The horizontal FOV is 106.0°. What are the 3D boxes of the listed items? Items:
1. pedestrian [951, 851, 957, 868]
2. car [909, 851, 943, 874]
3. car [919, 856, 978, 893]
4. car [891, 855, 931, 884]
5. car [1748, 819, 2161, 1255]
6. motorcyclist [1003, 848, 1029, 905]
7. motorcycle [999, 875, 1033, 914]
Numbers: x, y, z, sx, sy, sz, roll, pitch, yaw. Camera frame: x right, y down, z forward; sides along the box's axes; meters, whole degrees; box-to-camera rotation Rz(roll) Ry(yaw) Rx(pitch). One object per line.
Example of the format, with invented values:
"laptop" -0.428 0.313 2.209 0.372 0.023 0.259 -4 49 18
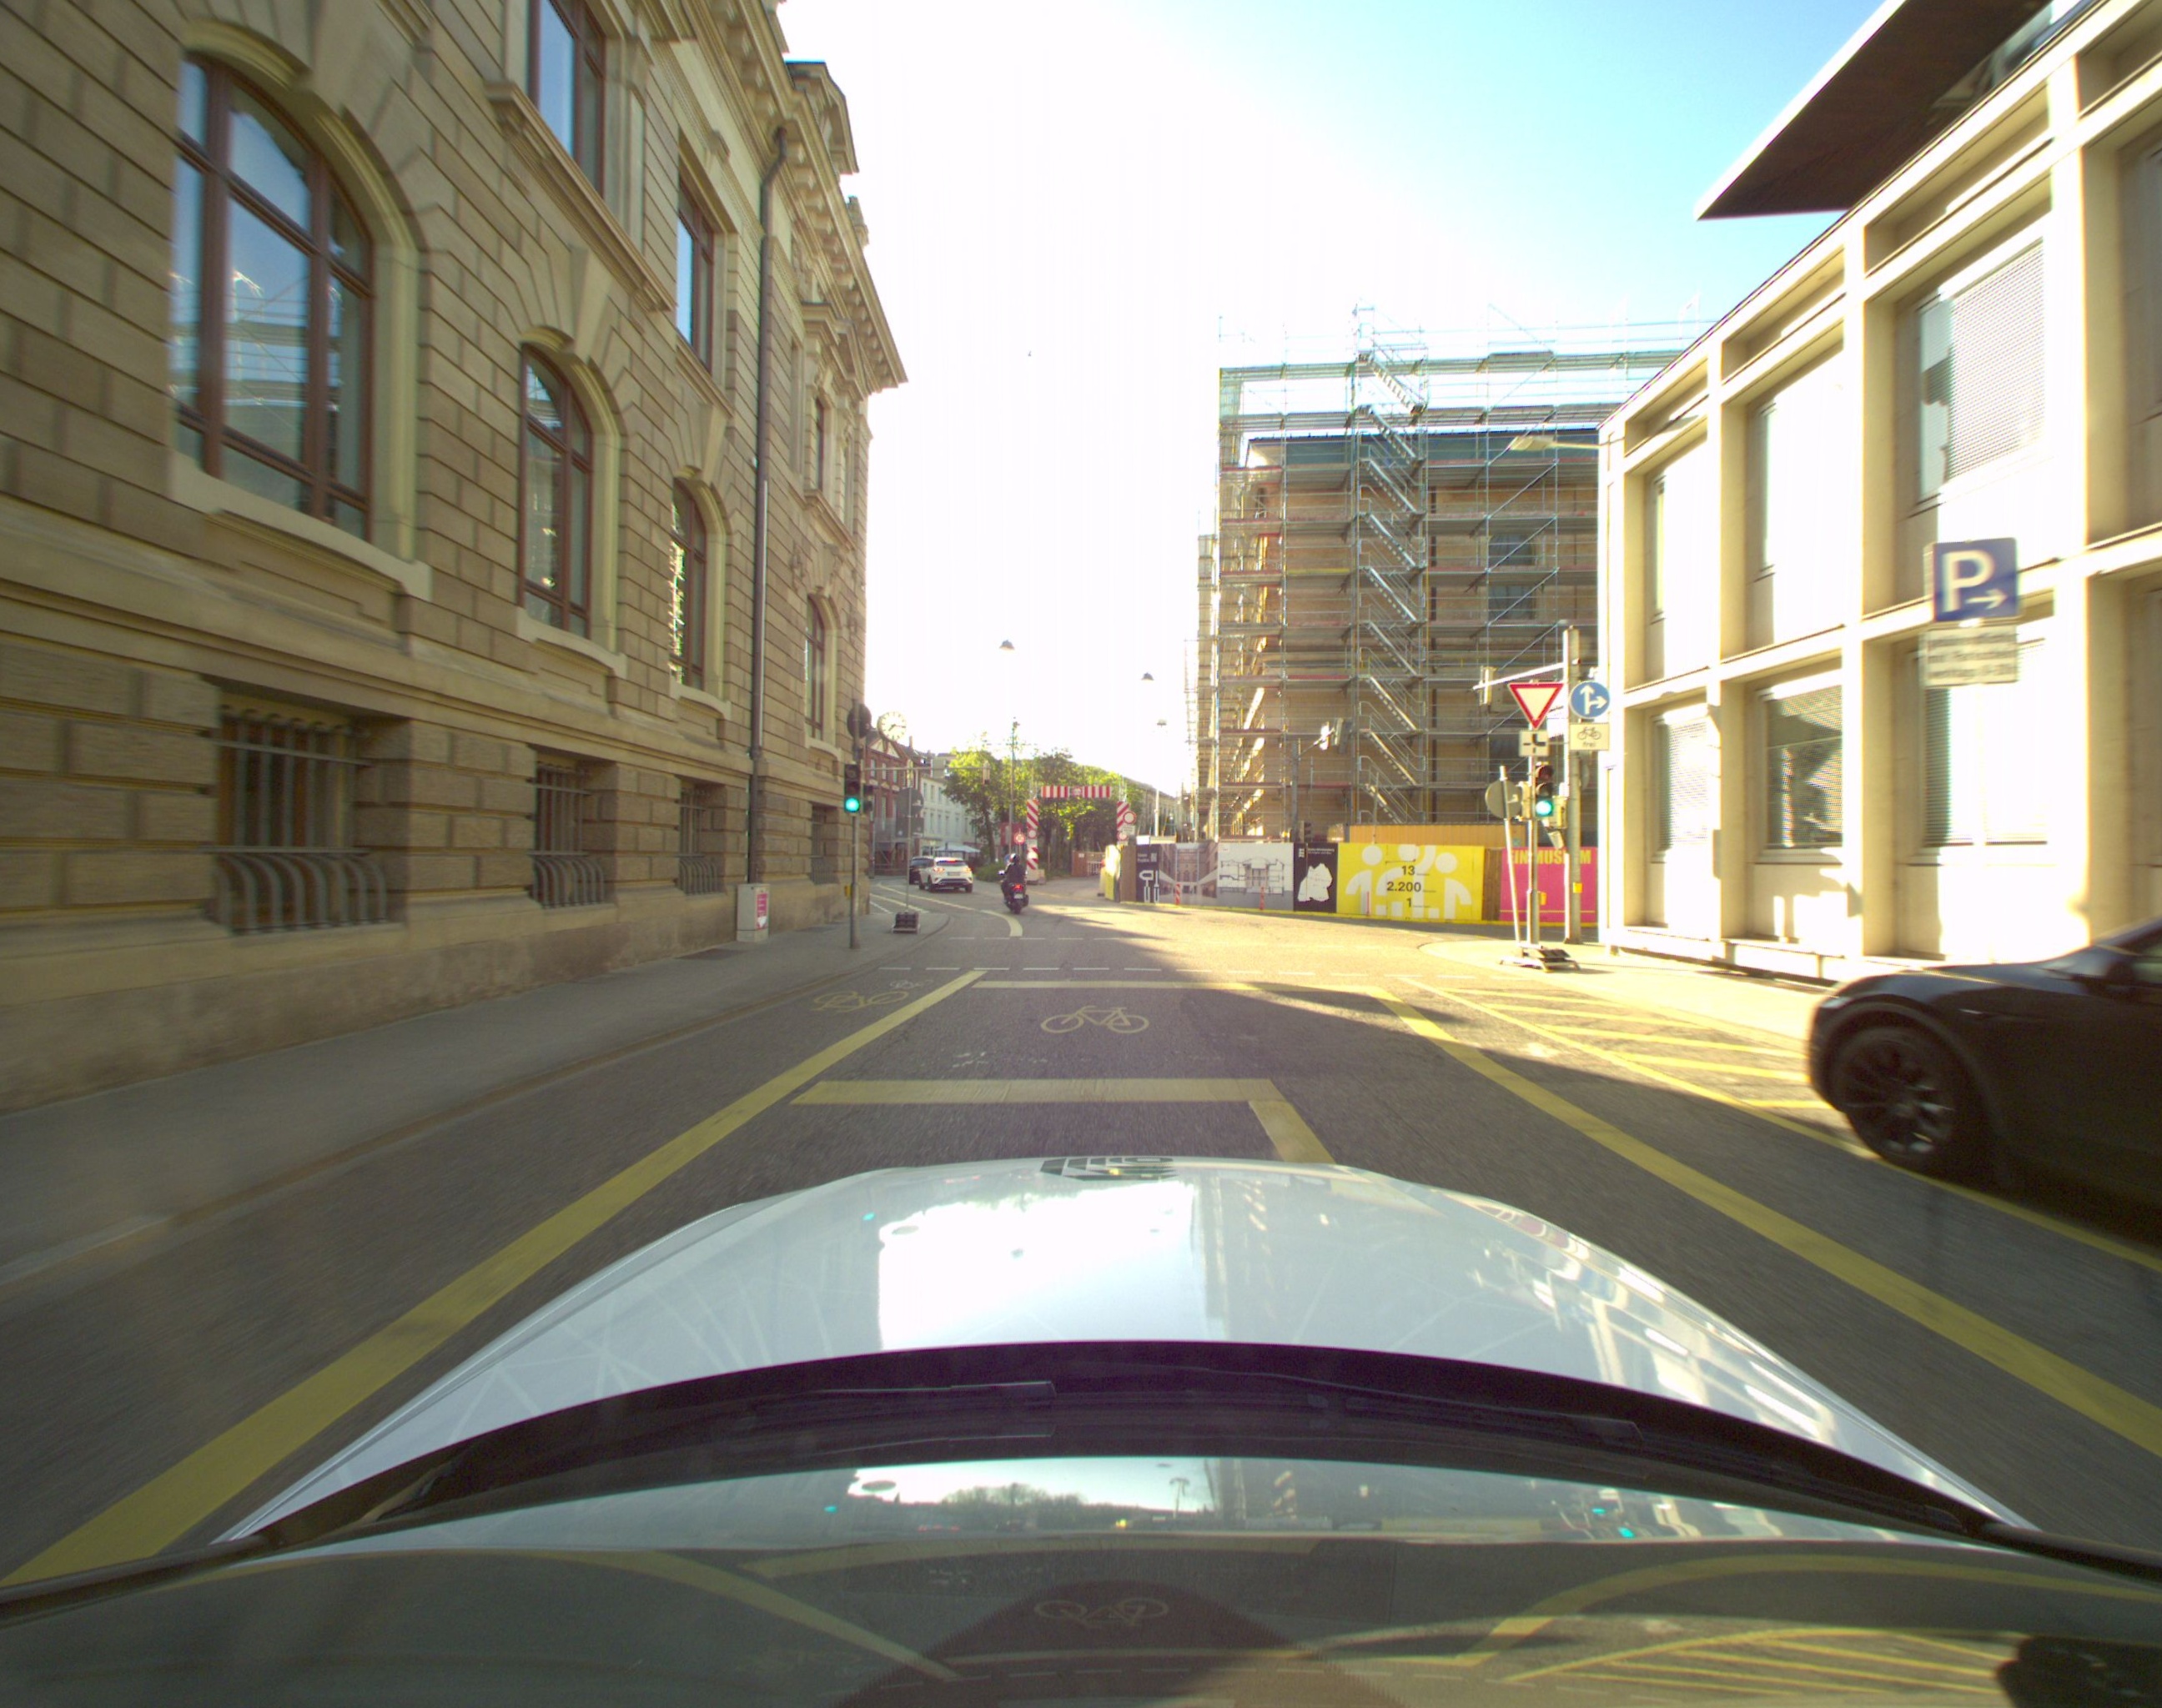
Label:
"pedestrian" -13.782 0.586 88.459 0.434 1.775 0.600 0 -1 22
"car" -12.108 0.684 63.653 1.834 1.713 4.057 1 0 0
"car" -5.846 0.851 35.566 1.856 1.480 4.031 1 0 -19
"car" -9.306 0.831 44.385 1.843 1.463 4.036 1 0 -15
"car" 4.976 0.696 2.646 1.887 1.623 4.621 1 0 1
"motorcyclist" -1.899 0.651 23.772 0.657 1.650 0.648 1 -1 -11
"motorcycle" -1.899 1.158 23.702 0.796 1.066 1.719 1 0 -10
